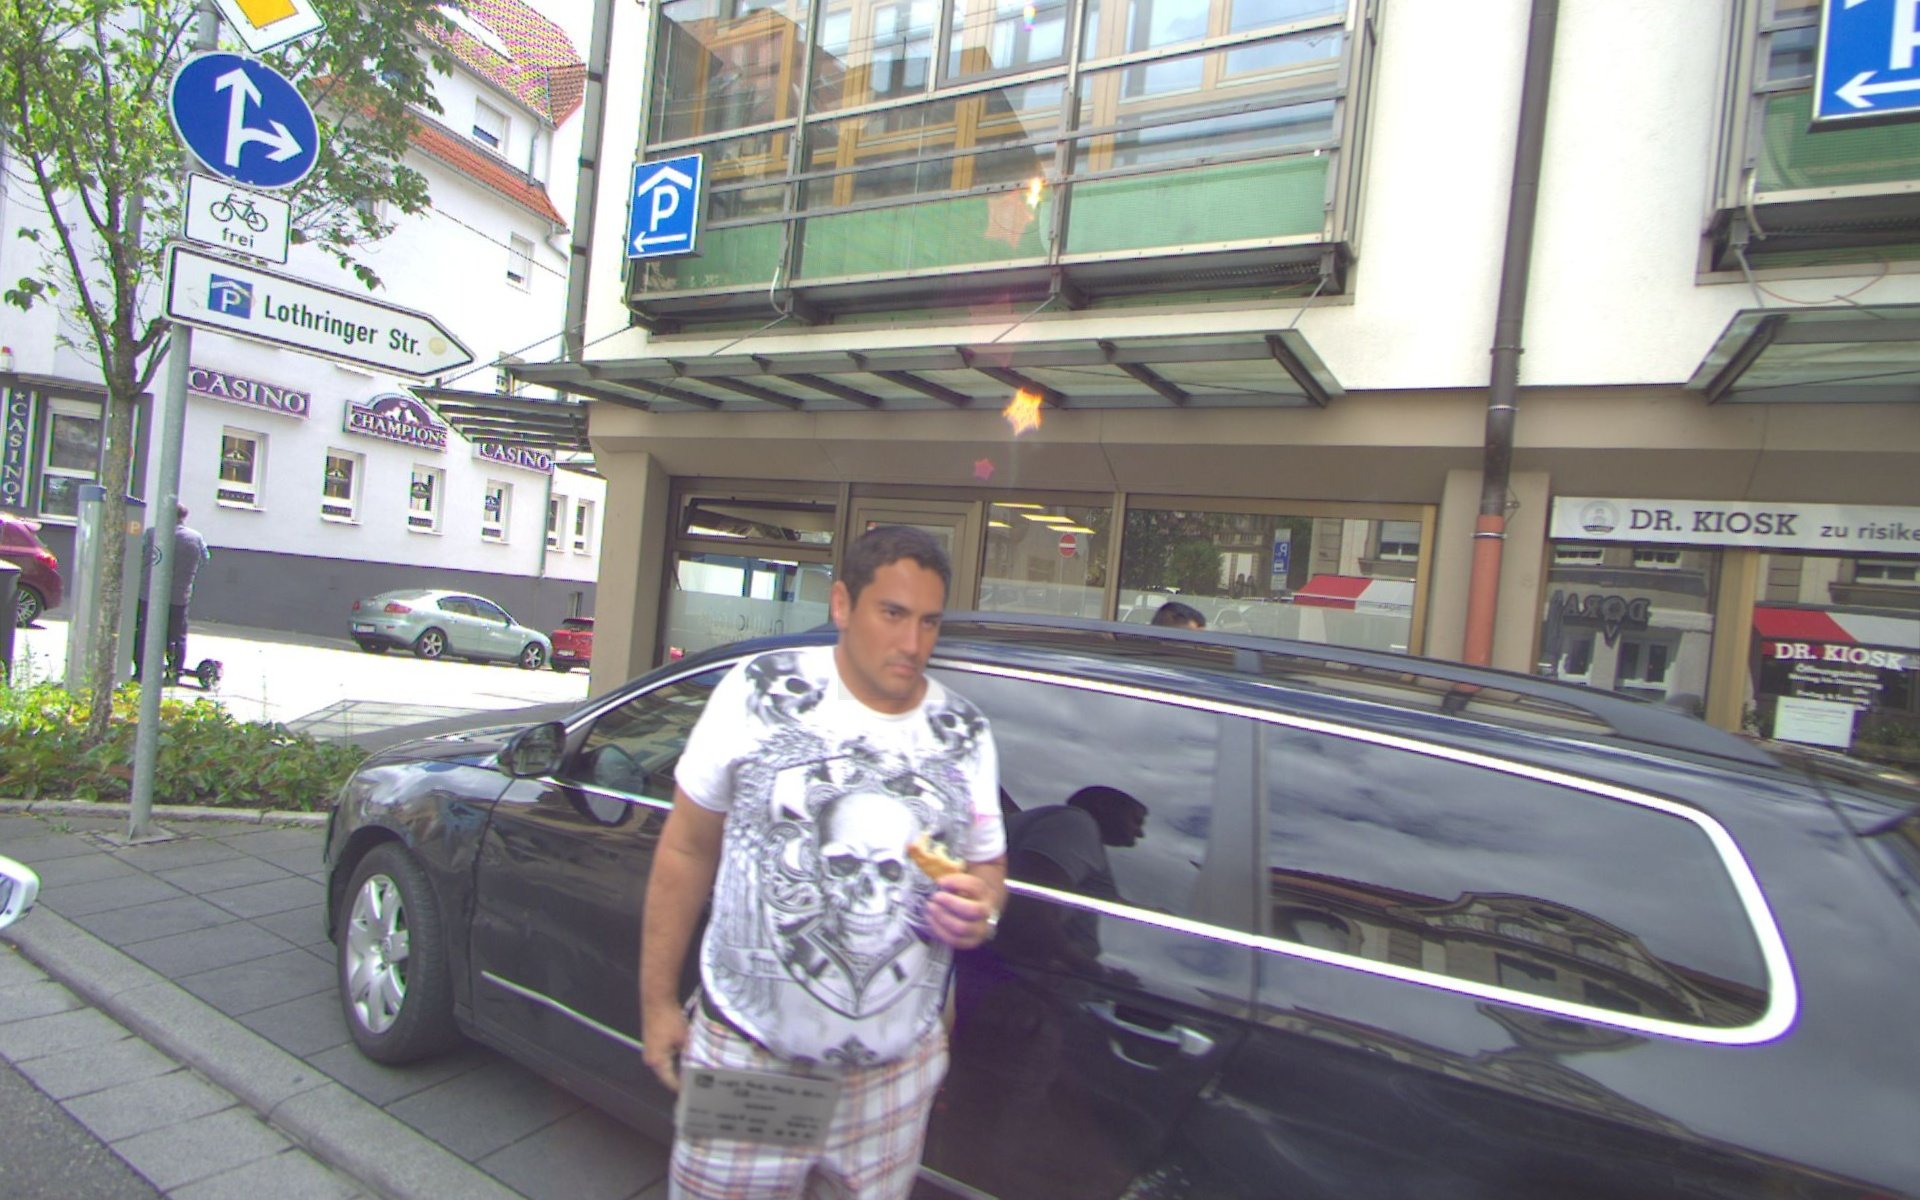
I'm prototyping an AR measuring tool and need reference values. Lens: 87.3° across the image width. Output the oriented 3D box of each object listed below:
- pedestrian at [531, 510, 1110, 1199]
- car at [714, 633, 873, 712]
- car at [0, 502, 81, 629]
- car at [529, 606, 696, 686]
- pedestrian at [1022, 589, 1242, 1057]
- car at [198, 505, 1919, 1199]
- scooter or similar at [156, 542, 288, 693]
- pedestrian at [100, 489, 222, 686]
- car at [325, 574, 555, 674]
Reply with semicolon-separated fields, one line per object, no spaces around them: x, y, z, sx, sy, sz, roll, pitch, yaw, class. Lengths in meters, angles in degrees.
-0.251;0.724;1.541;0.580;1.618;0.542;7;-2;-39;pedestrian
-3.889;1.797;24.135;1.816;1.413;3.897;8;-4;23;car
-13.426;-0.634;12.235;1.513;1.547;3.752;5;-3;33;car
-8.814;1.236;25.869;1.816;1.412;3.847;6;-6;23;car
0.680;0.794;3.866;0.469;1.580;0.661;6;-1;31;pedestrian
-0.114;0.687;2.875;4.477;1.471;1.717;6;-1;32;car
-6.974;0.156;9.498;1.228;1.295;0.431;6;-1;30;scooter or similar
-7.309;-0.101;9.213;0.473;1.723;0.572;6;-1;28;pedestrian
-10.750;0.580;21.115;1.816;1.412;3.901;6;-6;23;car
